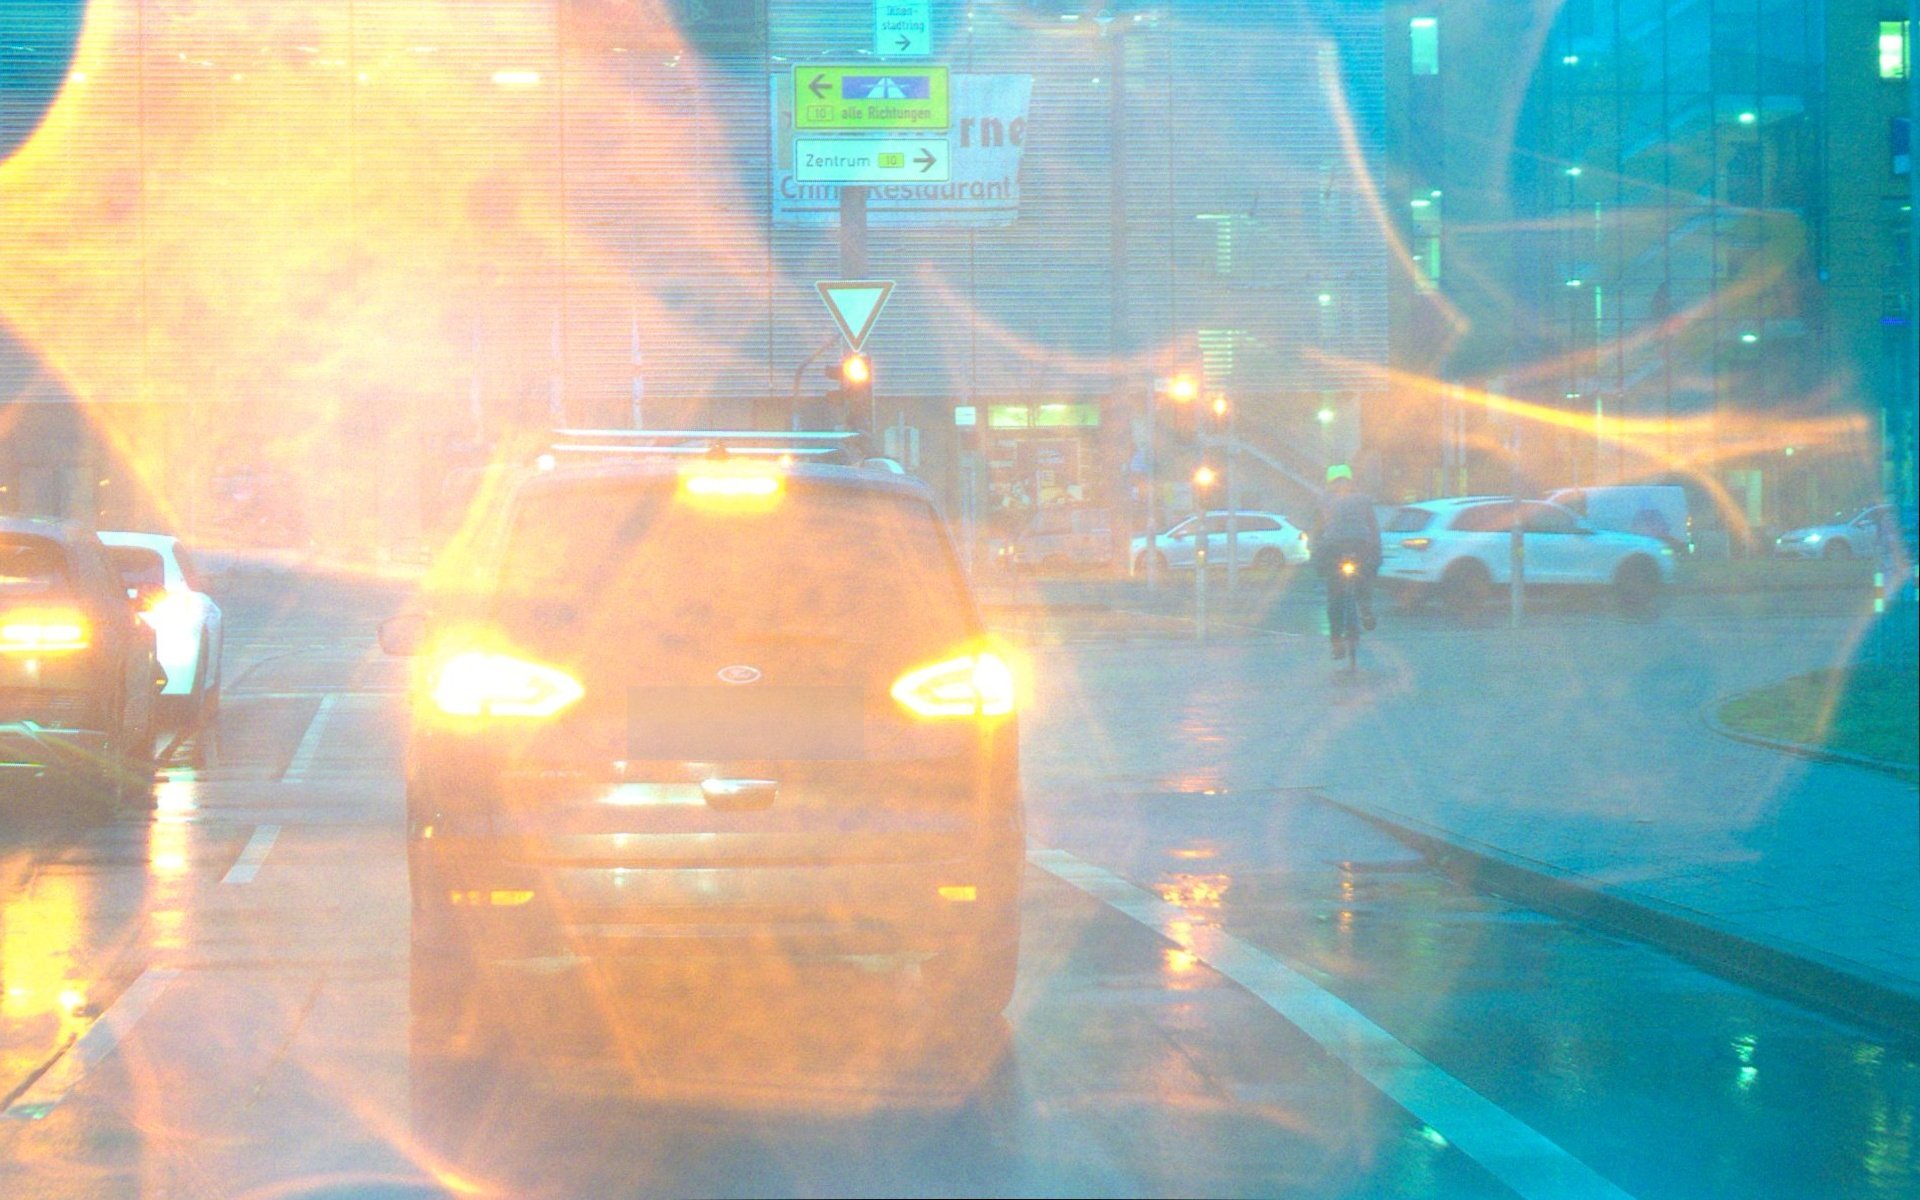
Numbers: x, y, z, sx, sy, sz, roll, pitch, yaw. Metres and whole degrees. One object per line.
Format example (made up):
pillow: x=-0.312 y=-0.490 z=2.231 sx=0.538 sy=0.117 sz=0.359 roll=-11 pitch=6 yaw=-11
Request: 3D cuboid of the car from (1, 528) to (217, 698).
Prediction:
car: x=-6.749 y=0.049 z=27.456 sx=1.540 sy=1.247 sz=4.069 roll=0 pitch=1 yaw=-13

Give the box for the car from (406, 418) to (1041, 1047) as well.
car: x=-0.931 y=0.326 z=11.773 sx=1.734 sy=1.732 sz=4.248 roll=2 pitch=1 yaw=-7

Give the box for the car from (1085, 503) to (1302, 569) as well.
car: x=5.111 y=-1.405 z=75.372 sx=4.418 sy=1.385 sz=1.800 roll=-1 pitch=1 yaw=-12

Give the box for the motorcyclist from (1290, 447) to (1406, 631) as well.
motorcyclist: x=3.294 y=-0.520 z=29.279 sx=0.868 sy=1.529 sz=1.108 roll=0 pitch=1 yaw=1

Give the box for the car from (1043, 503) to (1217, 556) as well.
car: x=3.963 y=-1.650 z=80.183 sx=3.758 sy=1.161 sz=1.681 roll=-1 pitch=1 yaw=-10

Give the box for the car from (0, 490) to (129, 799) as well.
car: x=-5.746 y=0.193 z=19.360 sx=1.752 sy=1.568 sz=4.001 roll=-1 pitch=1 yaw=-9

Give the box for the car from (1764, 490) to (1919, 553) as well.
car: x=20.745 y=-1.802 z=78.646 sx=4.214 sy=1.385 sz=1.800 roll=-1 pitch=1 yaw=-12

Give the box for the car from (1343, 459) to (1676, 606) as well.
car: x=8.089 y=-0.991 z=50.636 sx=4.354 sy=2.006 sz=2.001 roll=1 pitch=2 yaw=-21

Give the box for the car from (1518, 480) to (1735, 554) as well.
car: x=14.911 y=-1.856 z=76.940 sx=4.418 sy=1.589 sz=1.800 roll=-1 pitch=1 yaw=-15

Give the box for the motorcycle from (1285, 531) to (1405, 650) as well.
motorcycle: x=3.276 y=-0.094 z=29.346 sx=0.853 sy=0.968 sz=1.581 roll=0 pitch=1 yaw=1

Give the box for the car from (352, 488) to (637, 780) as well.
car: x=-3.018 y=0.167 z=21.881 sx=1.635 sy=1.691 sz=3.672 roll=0 pitch=1 yaw=-10
